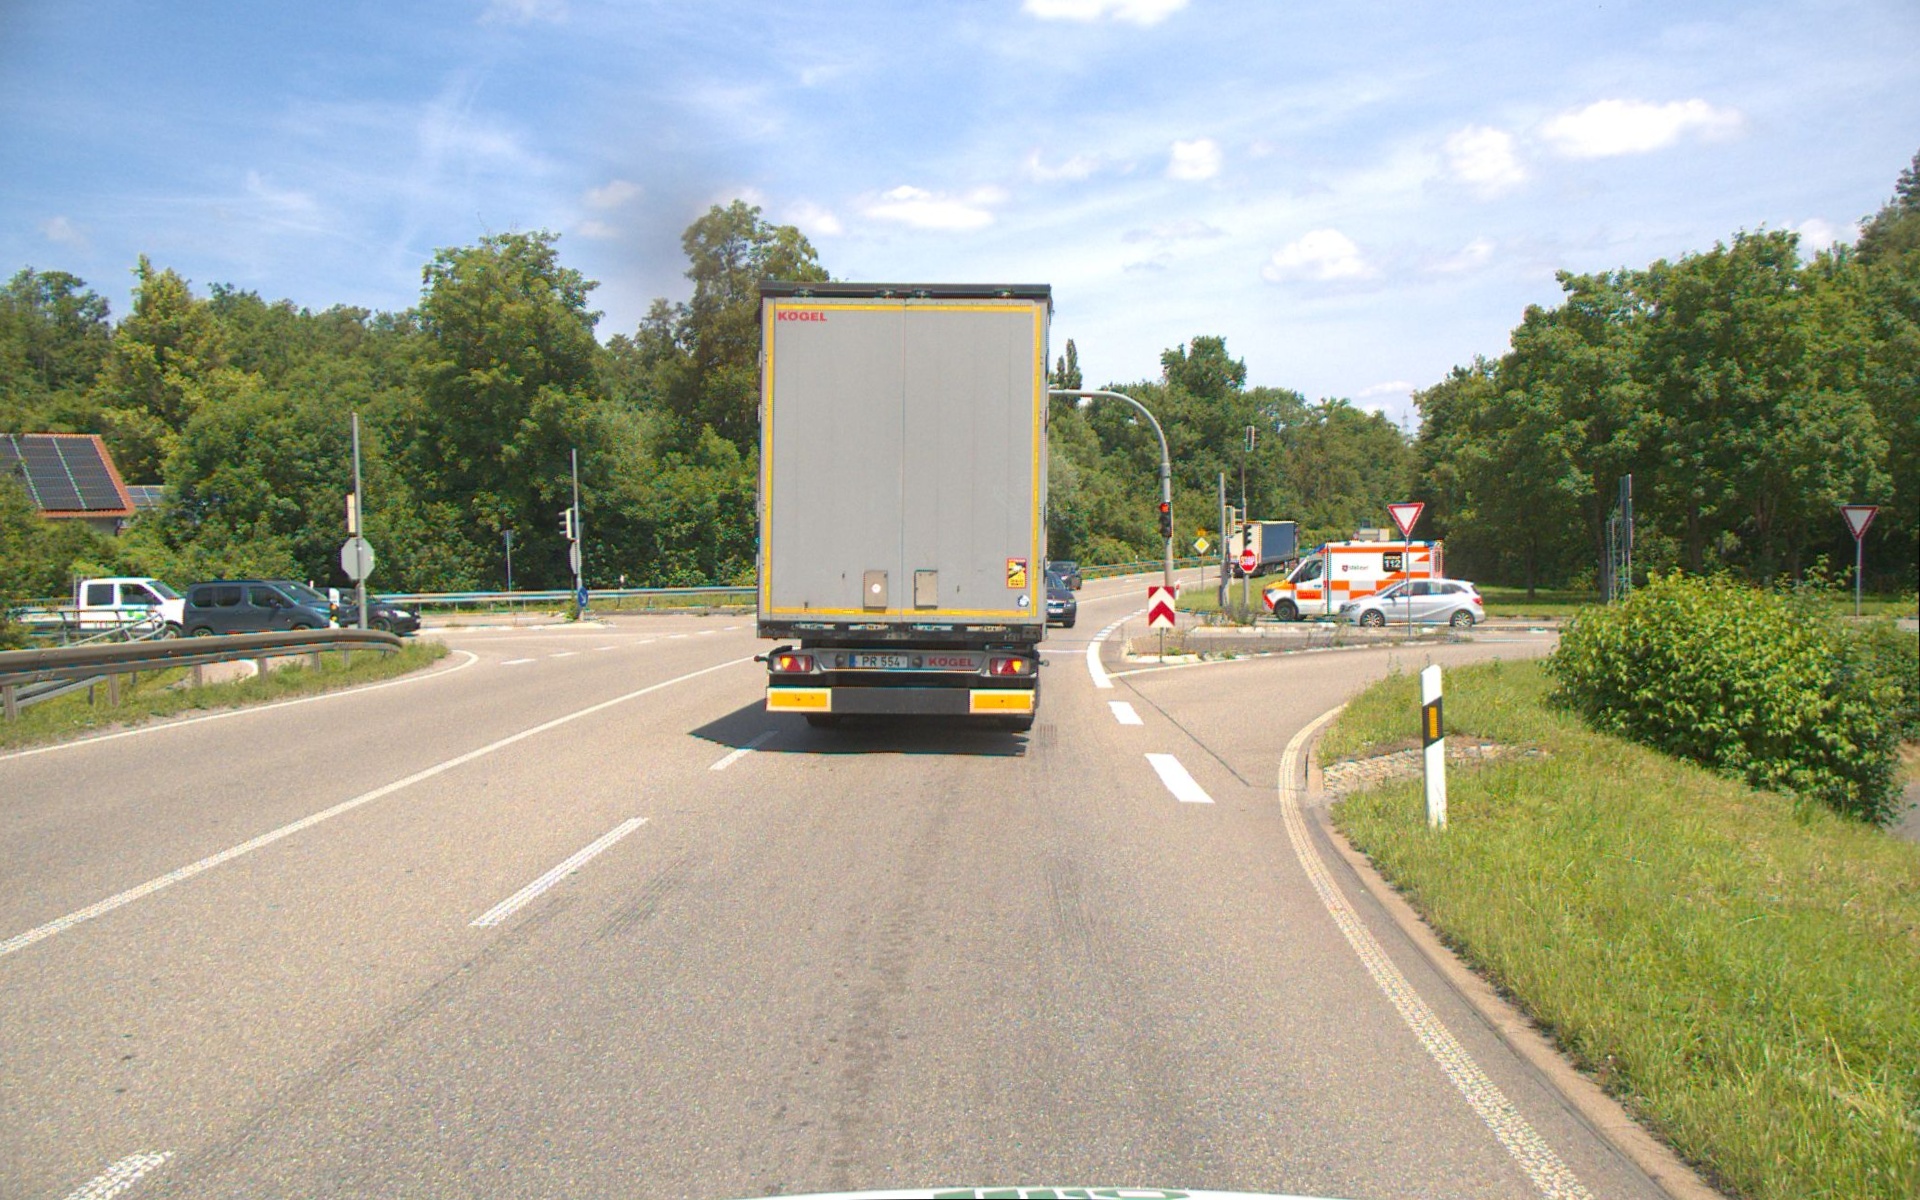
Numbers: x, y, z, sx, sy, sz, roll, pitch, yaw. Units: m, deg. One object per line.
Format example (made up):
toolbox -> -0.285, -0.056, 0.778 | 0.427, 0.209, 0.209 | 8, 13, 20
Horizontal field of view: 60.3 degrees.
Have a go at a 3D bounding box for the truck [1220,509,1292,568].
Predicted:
truck -> 22.471, -4.534, 125.063 | 3.114, 4.099, 11.745 | 1, 1, 21

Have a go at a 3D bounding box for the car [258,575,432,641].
car -> -17.304, 0.220, 46.625 | 4.143, 1.801, 2.002 | 0, 0, 10

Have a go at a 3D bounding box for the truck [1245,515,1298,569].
truck -> 24.628, -4.555, 130.551 | 3.104, 4.074, 5.815 | 1, 1, 21

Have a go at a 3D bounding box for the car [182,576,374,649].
car -> -17.487, 0.311, 42.493 | 4.143, 1.801, 2.002 | 0, 0, 10

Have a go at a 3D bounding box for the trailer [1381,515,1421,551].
trailer -> 49.012, -7.420, 183.775 | 3.185, 3.750, 9.250 | 1, 1, 22

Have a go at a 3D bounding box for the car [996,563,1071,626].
car -> 2.260, -0.125, 52.037 | 1.953, 1.816, 4.940 | 1, -1, -2

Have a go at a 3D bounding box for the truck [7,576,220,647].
truck -> -23.289, 0.336, 45.683 | 4.790, 1.823, 2.037 | 1, -1, -12

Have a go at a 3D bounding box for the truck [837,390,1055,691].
truck -> -0.057, -0.830, 25.910 | 2.975, 4.104, 6.631 | 0, 0, 2

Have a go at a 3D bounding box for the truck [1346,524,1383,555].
truck -> 41.351, -6.111, 168.955 | 2.797, 2.999, 7.104 | 1, 1, 22

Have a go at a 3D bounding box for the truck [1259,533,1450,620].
truck -> 13.434, -0.777, 56.352 | 5.894, 2.775, 2.499 | 1, -2, 27

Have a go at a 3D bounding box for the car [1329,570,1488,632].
car -> 13.548, 0.045, 50.166 | 4.334, 1.748, 2.001 | 1, -1, 5

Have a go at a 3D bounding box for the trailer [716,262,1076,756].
trailer -> -0.278, -0.783, 20.059 | 2.988, 4.104, 12.562 | 0, 0, 2
